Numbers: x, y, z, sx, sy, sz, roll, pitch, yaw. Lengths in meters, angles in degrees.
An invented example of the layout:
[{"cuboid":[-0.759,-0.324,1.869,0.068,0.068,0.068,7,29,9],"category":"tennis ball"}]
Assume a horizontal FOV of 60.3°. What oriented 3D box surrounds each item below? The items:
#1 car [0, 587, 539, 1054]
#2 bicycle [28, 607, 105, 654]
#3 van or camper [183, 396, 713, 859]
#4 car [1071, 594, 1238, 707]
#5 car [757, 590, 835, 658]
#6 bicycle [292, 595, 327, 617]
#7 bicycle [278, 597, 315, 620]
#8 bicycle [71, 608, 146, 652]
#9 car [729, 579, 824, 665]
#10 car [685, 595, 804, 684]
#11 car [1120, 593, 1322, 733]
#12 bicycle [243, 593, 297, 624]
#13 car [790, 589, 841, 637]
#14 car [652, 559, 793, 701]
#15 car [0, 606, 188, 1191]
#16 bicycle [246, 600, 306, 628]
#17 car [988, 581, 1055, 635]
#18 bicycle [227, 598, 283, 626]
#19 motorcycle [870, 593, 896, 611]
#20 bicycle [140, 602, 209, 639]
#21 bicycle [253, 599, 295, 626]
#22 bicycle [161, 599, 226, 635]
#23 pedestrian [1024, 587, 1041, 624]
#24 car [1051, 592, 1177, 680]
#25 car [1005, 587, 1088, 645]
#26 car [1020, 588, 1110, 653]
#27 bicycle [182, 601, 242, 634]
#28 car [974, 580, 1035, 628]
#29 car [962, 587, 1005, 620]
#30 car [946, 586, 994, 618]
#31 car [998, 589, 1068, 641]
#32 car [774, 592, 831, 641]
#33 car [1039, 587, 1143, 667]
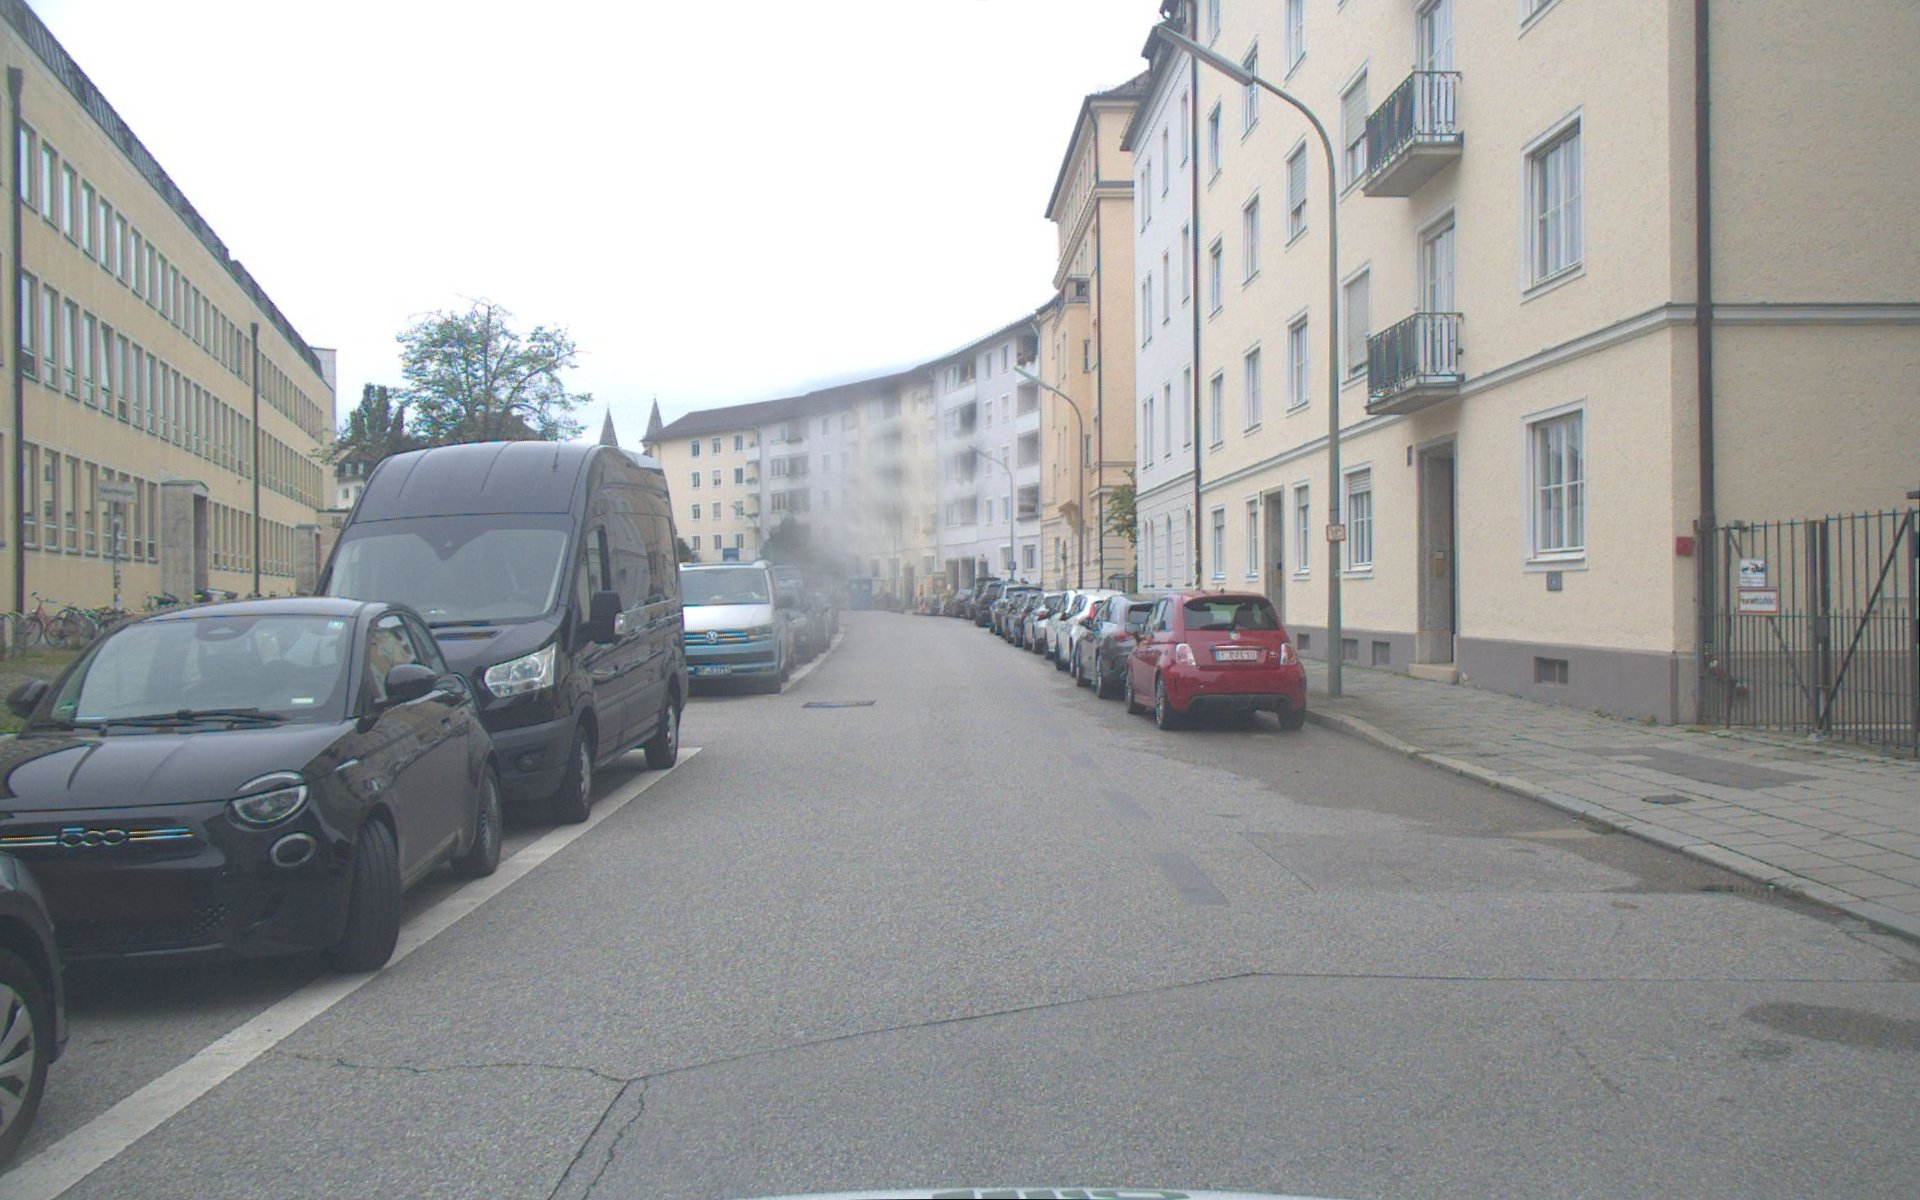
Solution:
[{"cuboid":[-3.114,0.738,7.522,1.620,1.523,3.905,-2,1,-5],"category":"car"},{"cuboid":[-18.933,0.648,35.057,1.379,0.961,0.414,1,0,-5],"category":"bicycle"},{"cuboid":[-3.504,0.144,12.776,2.246,2.697,5.561,-2,0,0],"category":"van or camper"},{"cuboid":[2.749,0.664,24.362,1.737,1.454,4.613,0,1,-2],"category":"car"},{"cuboid":[-4.029,0.557,41.091,1.598,1.520,3.818,-3,1,-2],"category":"car"},{"cuboid":[-29.490,0.274,74.967,1.448,0.961,0.412,1,0,-19],"category":"bicycle"},{"cuboid":[-27.905,0.361,69.574,1.385,0.961,0.412,1,0,-19],"category":"bicycle"},{"cuboid":[-18.811,0.663,36.552,1.383,0.961,0.413,1,0,-15],"category":"bicycle"},{"cuboid":[-3.933,0.430,36.055,1.680,1.719,4.139,-2,1,-2],"category":"car"},{"cuboid":[-3.938,0.686,30.710,1.768,1.431,3.708,-3,1,-2],"category":"car"},{"cuboid":[2.951,0.660,19.389,1.621,1.454,3.754,0,1,-3],"category":"car"},{"cuboid":[-25.843,0.331,61.968,1.817,1.115,0.699,1,0,-19],"category":"bicycle"},{"cuboid":[-4.992,0.428,57.389,1.599,1.520,4.272,-3,1,-4],"category":"car"},{"cuboid":[-3.591,0.388,25.769,1.877,1.994,4.957,0,1,-5],"category":"car"},{"cuboid":[-3.203,0.803,3.150,1.642,1.461,4.283,-2,1,-4],"category":"car"},{"cuboid":[-24.301,0.488,58.760,1.919,0.961,0.413,1,0,-15],"category":"bicycle"},{"cuboid":[2.000,0.235,54.974,1.809,1.692,4.495,0,1,-3],"category":"car"},{"cuboid":[-25.249,0.421,59.243,1.831,0.961,0.412,1,0,-21],"category":"bicycle"},{"cuboid":[-5.334,0.144,113.838,0.920,1.242,2.486,0,0,-26],"category":"motorcycle"},{"cuboid":[-20.906,0.553,44.043,1.580,0.961,0.500,1,0,-21],"category":"bicycle"},{"cuboid":[-25.134,0.454,60.619,1.392,0.961,0.410,1,0,-30],"category":"bicycle"},{"cuboid":[-21.420,0.474,46.246,1.580,0.961,0.500,1,0,-21],"category":"bicycle"},{"cuboid":[3.506,0.254,80.023,0.605,1.719,0.919,-4,0,-2],"category":"pedestrian"},{"cuboid":[2.710,0.596,29.934,1.690,1.454,4.292,0,1,-3],"category":"car"},{"cuboid":[2.293,0.397,44.962,1.838,1.475,4.676,0,1,-2],"category":"car"},{"cuboid":[2.493,0.459,40.181,1.690,1.475,4.185,0,1,-3],"category":"car"},{"cuboid":[-21.970,0.510,48.556,1.584,0.961,0.499,1,0,-26],"category":"bicycle"},{"cuboid":[1.701,0.124,65.044,2.126,1.769,5.022,0,1,-2],"category":"car"},{"cuboid":[1.059,0.157,75.297,1.599,1.442,3.676,0,1,-5],"category":"car"},{"cuboid":[0.459,0.094,81.668,1.871,1.503,4.940,0,1,-6],"category":"car"},{"cuboid":[2.171,0.433,50.117,1.791,1.475,4.083,0,1,-2],"category":"car"},{"cuboid":[-4.949,0.499,52.406,1.707,1.447,4.291,0,1,-4],"category":"car"},{"cuboid":[2.723,0.533,35.138,1.618,1.570,3.990,0,1,-4],"category":"car"}]
